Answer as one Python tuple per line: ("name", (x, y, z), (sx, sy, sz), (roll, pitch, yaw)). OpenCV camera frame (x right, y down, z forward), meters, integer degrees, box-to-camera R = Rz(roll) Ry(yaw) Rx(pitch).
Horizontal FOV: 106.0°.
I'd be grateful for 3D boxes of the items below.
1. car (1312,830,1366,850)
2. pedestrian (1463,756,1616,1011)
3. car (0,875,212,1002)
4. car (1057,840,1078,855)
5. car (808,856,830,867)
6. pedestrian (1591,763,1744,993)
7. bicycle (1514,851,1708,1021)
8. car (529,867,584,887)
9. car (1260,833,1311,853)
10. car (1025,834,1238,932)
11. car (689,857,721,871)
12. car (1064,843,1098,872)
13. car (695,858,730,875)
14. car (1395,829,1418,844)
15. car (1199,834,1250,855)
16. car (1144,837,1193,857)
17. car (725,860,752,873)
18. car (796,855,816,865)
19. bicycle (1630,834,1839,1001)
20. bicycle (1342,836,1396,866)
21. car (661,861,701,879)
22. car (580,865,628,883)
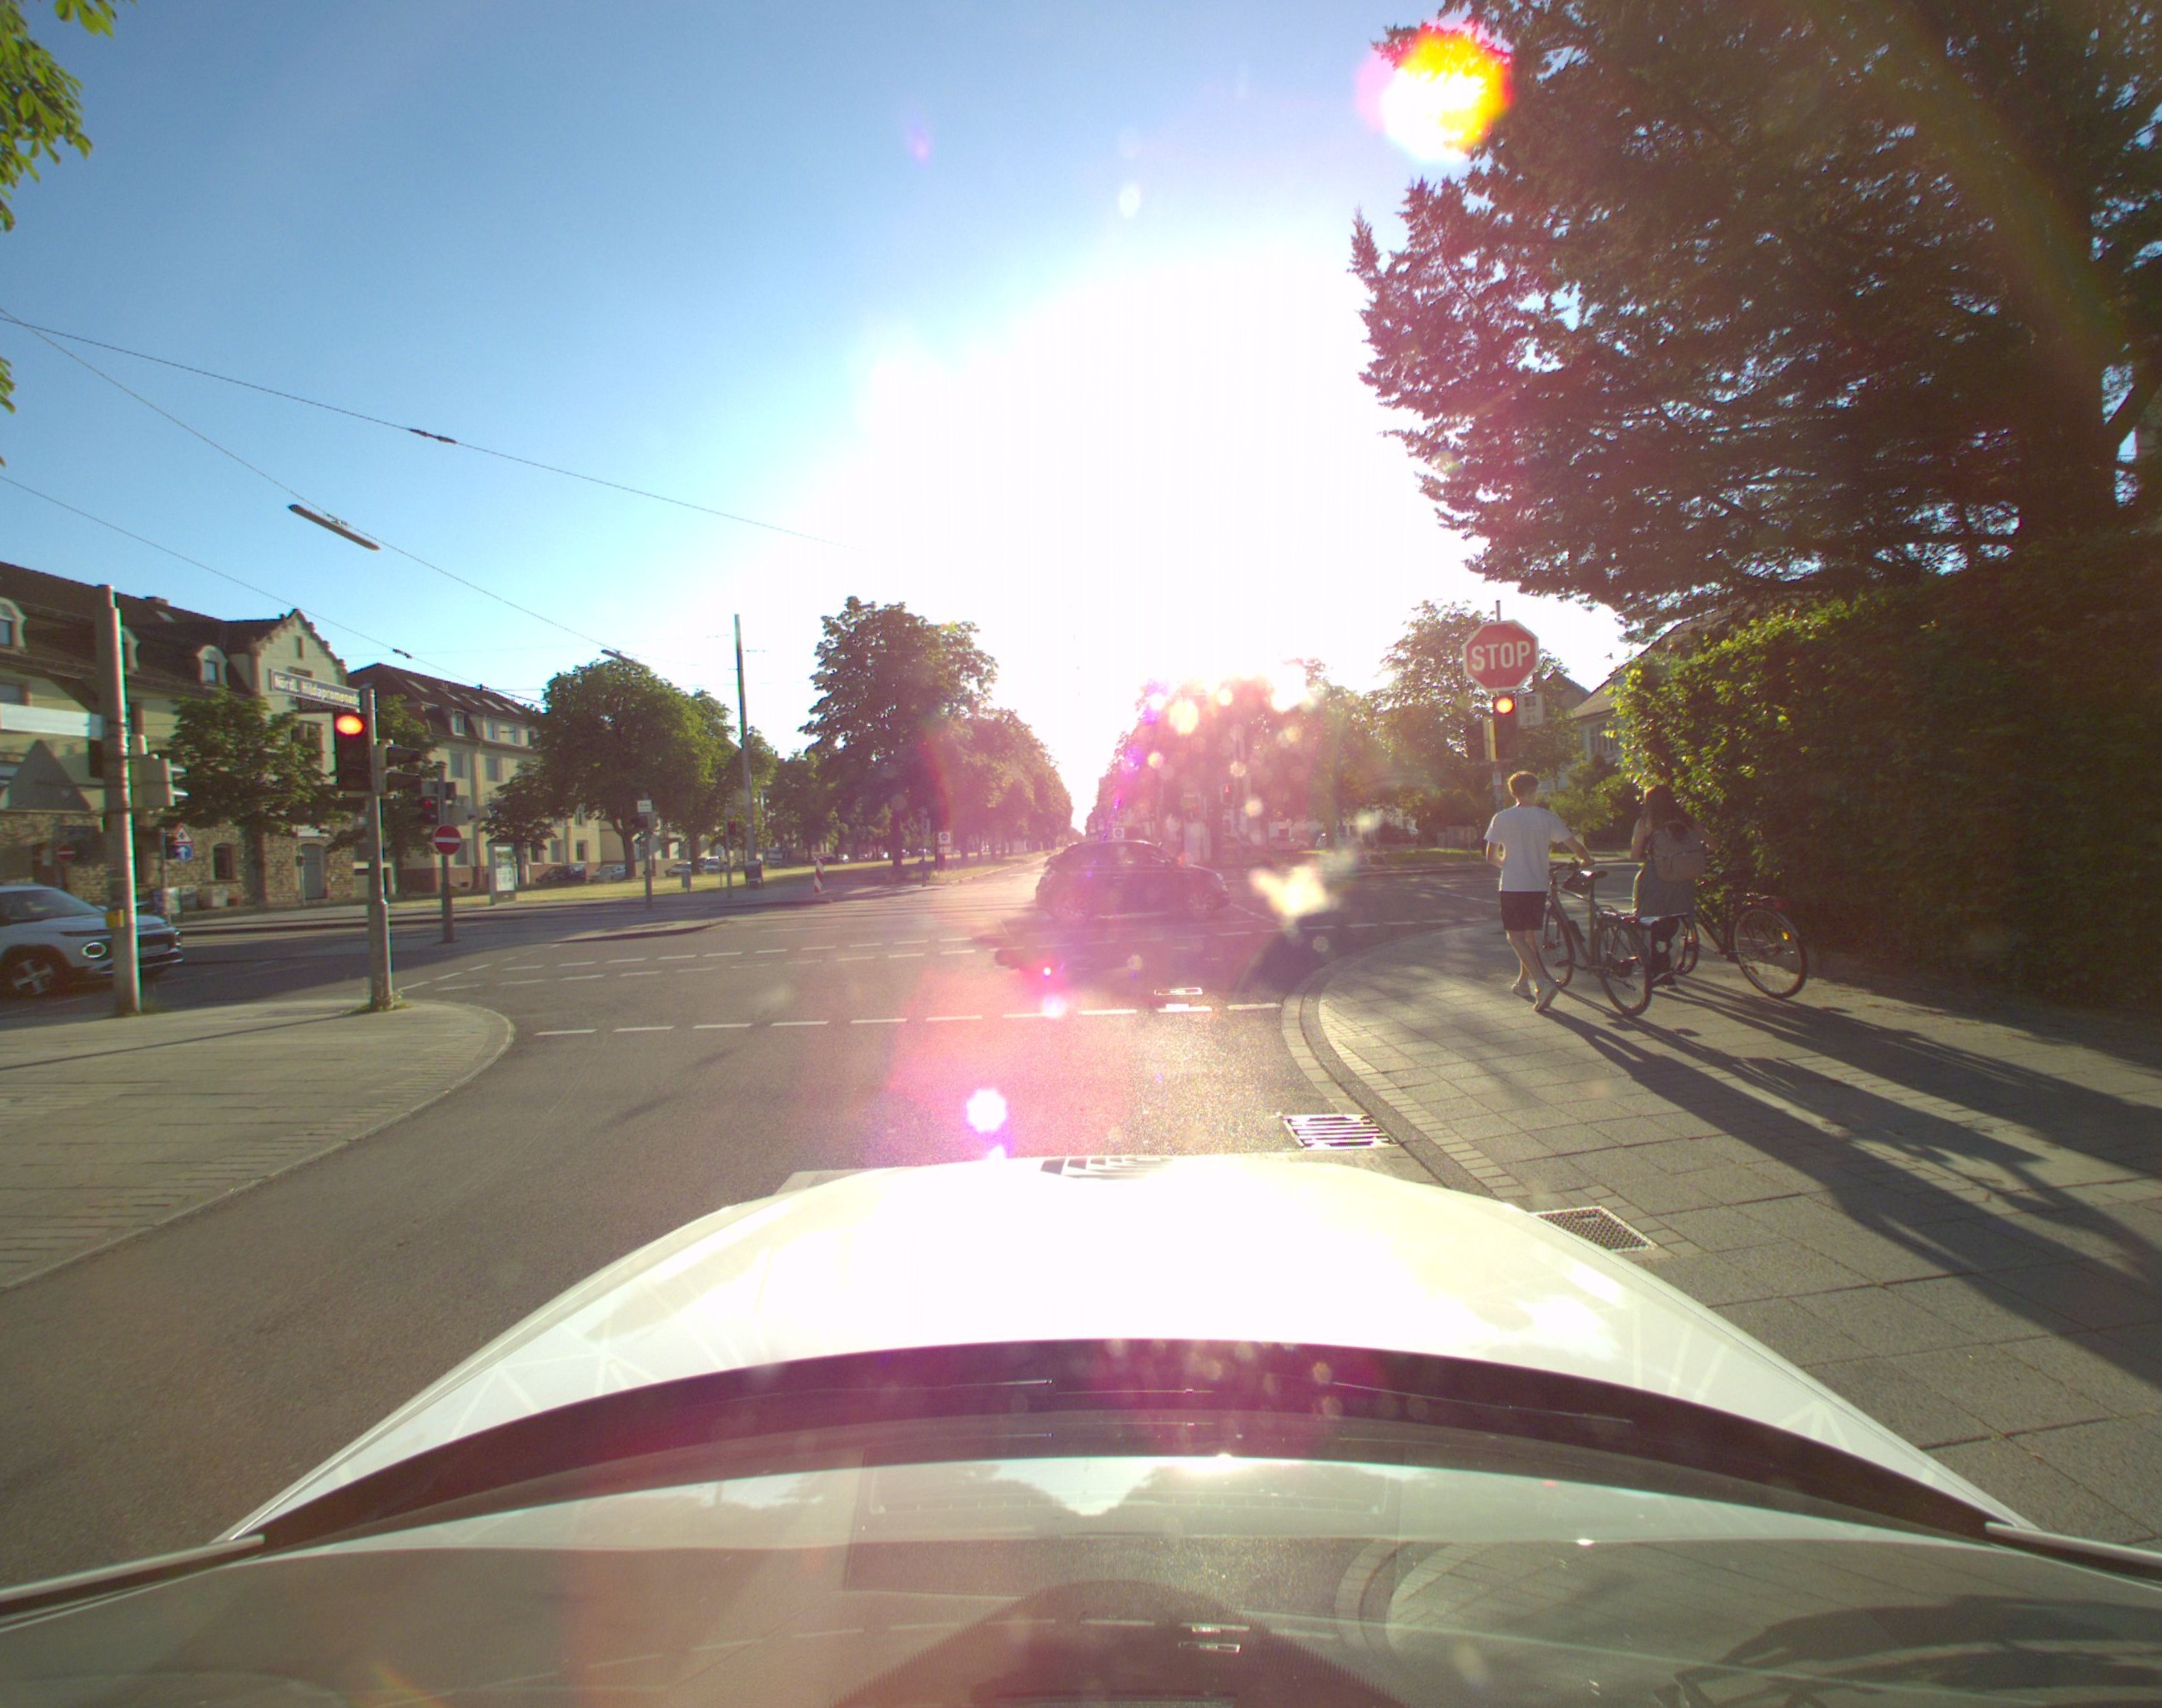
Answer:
("car", (20.885, -1.117, 65.973), (3.838, 1.427, 1.595), (-2, 0, -4))
("pedestrian", (3.649, 0.215, 6.559), (0.666, 1.865, 0.884), (-6, 1, 9))
("car", (-15.645, 1.267, 11.798), (3.864, 1.551, 1.607), (-4, 3, -10))
("car", (-1.273, -0.652, 78.455), (1.839, 1.393, 3.829), (-2, 1, 1))
("car", (-37.743, 1.100, 117.423), (1.732, 1.427, 3.793), (-2, 1, 1))
("pedestrian", (4.698, 0.182, 6.570), (0.665, 1.708, 0.624), (-6, 1, 7))
("bicycle", (4.105, 0.563, 6.478), (0.484, 1.097, 1.794), (-5, 1, 7))
("car", (-43.131, 1.898, 67.111), (1.729, 1.397, 3.799), (-2, 1, 6))
("car", (16.373, -0.862, 65.305), (3.656, 1.427, 1.529), (-2, 0, -4))
("car", (0.883, 0.480, 15.053), (3.599, 1.497, 1.605), (-3, 1, -12))
("car", (-43.134, 1.164, 93.517), (1.732, 1.427, 3.793), (-2, 1, 1))
("car", (0.031, 0.177, 44.291), (1.634, 1.450, 3.310), (-2, 1, 3))
("car", (-37.343, 1.276, 82.689), (1.732, 1.427, 3.793), (-2, 2, 1))
("car", (33.392, -1.820, 83.480), (1.648, 1.417, 3.565), (-2, 1, 30))
("car", (11.492, -0.748, 65.475), (3.767, 1.525, 1.744), (-2, 2, 0))
("car", (6.992, -0.555, 65.254), (3.767, 1.427, 1.744), (-2, 2, 0))
("car", (-43.564, 1.570, 103.632), (1.732, 1.427, 3.793), (-2, 1, 1))
("car", (-43.129, 0.976, 127.752), (1.732, 1.427, 3.793), (-2, 1, 1))
("bicycle", (5.120, 0.430, 6.514), (0.484, 1.142, 1.602), (-5, 1, 8))
("bicycle", (11.647, -0.134, 32.982), (1.946, 1.132, 0.620), (-2, 0, 2))
("car", (-37.511, 1.471, 76.492), (1.732, 1.427, 3.793), (-2, 1, 1))
("car", (-43.065, 1.806, 73.589), (1.729, 1.427, 3.799), (-2, 1, 6))
